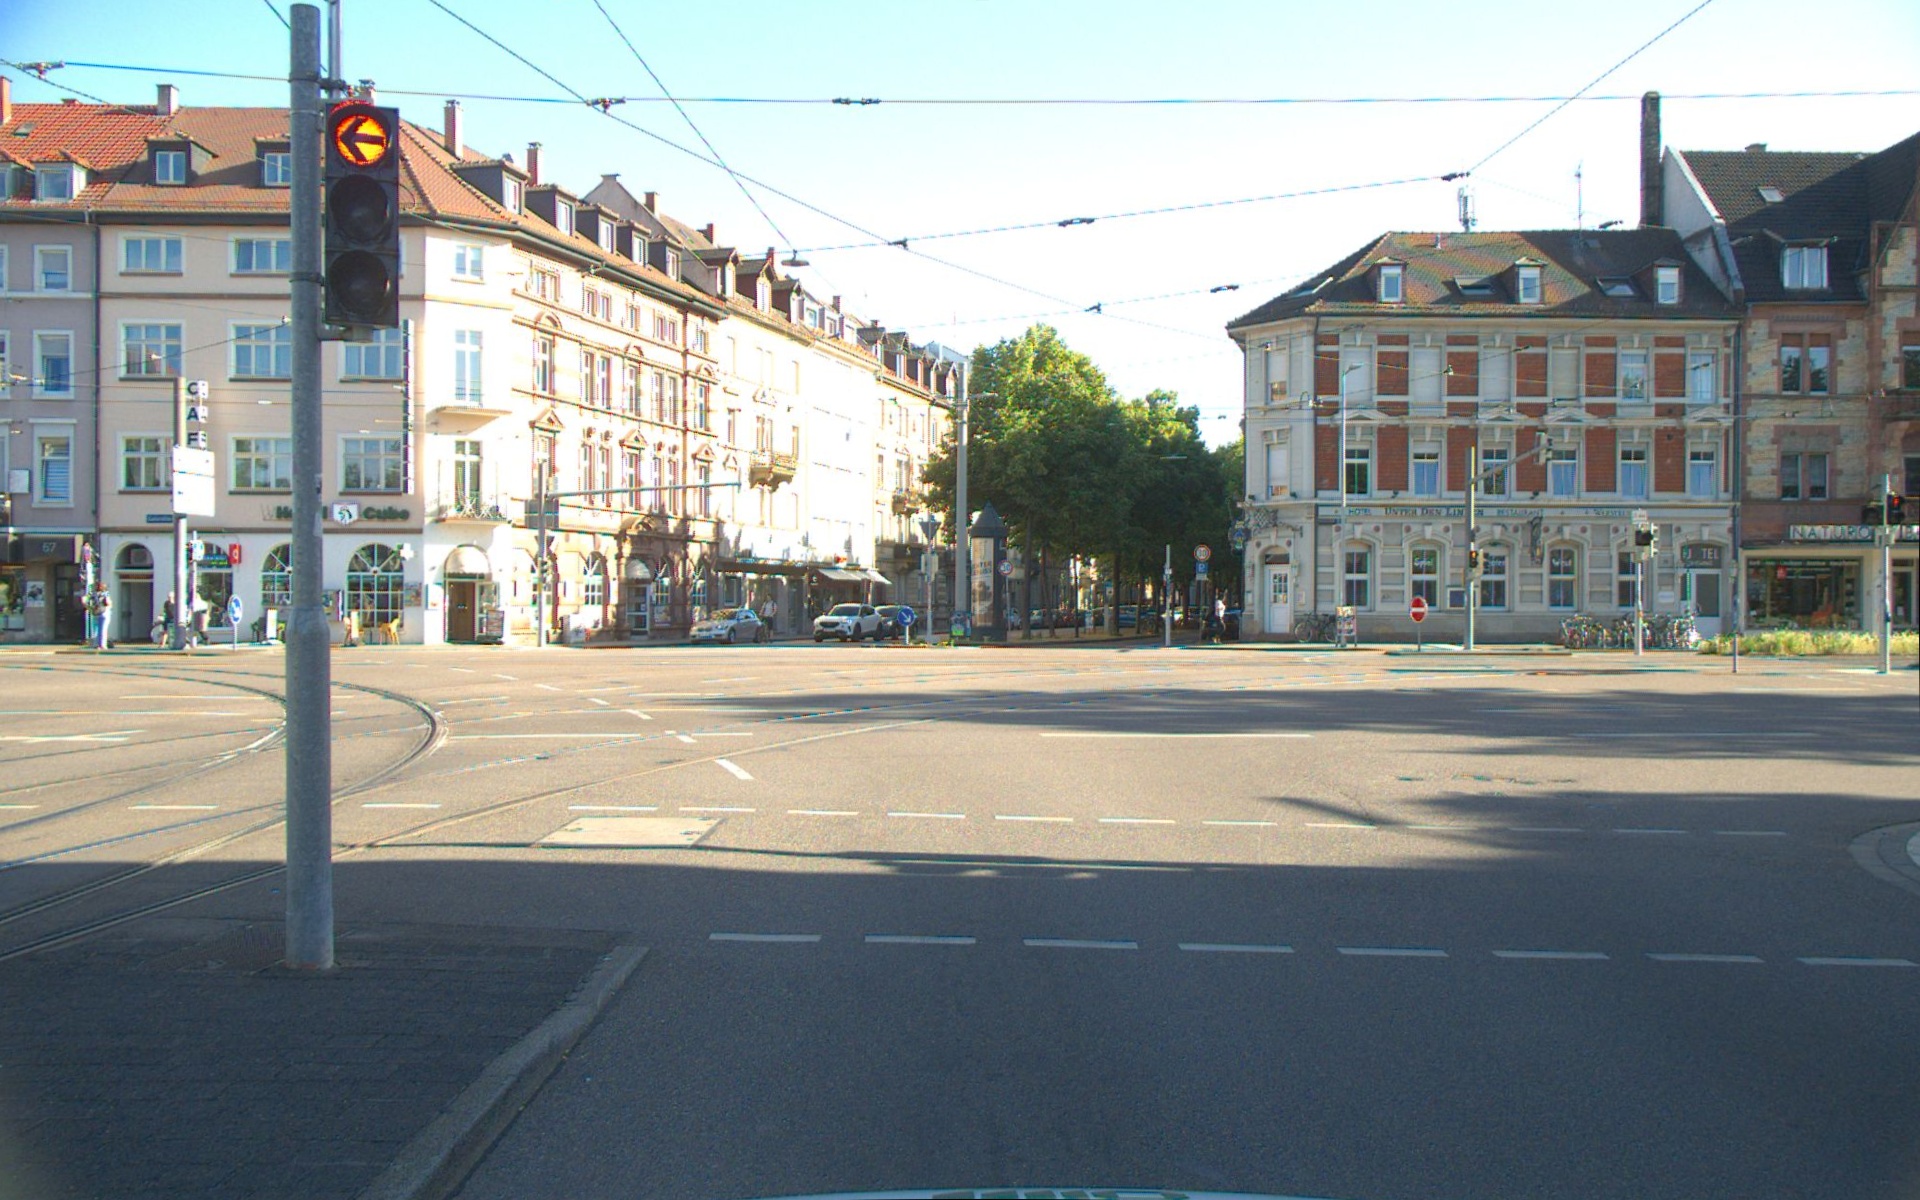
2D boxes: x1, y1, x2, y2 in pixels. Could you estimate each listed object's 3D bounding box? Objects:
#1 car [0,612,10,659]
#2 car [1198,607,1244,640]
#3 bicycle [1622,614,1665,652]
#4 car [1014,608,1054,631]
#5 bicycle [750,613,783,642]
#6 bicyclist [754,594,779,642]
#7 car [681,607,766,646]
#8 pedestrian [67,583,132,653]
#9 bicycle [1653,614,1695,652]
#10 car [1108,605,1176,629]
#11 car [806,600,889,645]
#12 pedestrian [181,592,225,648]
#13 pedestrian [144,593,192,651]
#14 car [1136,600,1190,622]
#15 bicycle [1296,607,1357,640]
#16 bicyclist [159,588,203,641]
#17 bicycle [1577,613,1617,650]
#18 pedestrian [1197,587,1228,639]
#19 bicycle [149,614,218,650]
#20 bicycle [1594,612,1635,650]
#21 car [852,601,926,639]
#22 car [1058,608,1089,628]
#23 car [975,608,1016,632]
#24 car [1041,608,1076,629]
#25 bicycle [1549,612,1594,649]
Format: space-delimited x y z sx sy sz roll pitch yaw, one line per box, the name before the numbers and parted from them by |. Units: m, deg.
car | -32.396 1.141 51.946 3.907 1.478 1.999 0 0 -3
car | 13.072 1.159 82.634 1.951 1.613 4.003 0 0 13
bicycle | 22.075 1.055 53.450 0.605 1.163 2.175 0 0 4
car | 5.530 1.424 122.738 1.951 1.640 4.393 0 0 17
bicycle | -7.594 1.080 64.890 0.665 1.085 2.127 0 0 12
bicyclist | -7.583 0.693 64.932 0.664 1.852 1.071 0 0 12
car | -9.524 1.034 66.900 1.858 1.481 4.002 0 0 17
pedestrian | -21.565 0.447 41.494 1.058 1.714 1.103 0 0 -1
bicycle | 23.039 1.058 53.398 0.596 1.156 2.136 0 0 4
car | 12.708 1.199 115.583 4.290 1.640 1.998 0 0 26
car | -4.540 0.883 67.253 1.951 1.713 4.393 0 0 17
pedestrian | -24.582 0.635 53.724 0.918 1.806 1.010 0 0 4
pedestrian | -24.891 0.683 52.007 0.985 1.806 0.942 0 0 14
car | 16.421 0.884 133.872 3.912 1.736 1.996 0 0 30
bicycle | 12.753 0.818 57.583 2.045 1.144 0.366 1 -1 -5
bicyclist | -26.314 0.483 55.881 1.142 1.806 0.748 0 0 -2
bicycle | 20.595 0.999 53.539 0.605 1.163 2.175 0 0 4
pedestrian | 8.729 0.442 57.198 1.024 1.774 0.809 0 0 5
bicycle | -26.242 1.083 55.911 2.048 1.202 0.631 0 0 -1
bicycle | 21.167 0.993 53.509 0.605 1.163 2.175 0 0 4
car | -3.146 0.861 73.788 1.951 1.640 4.393 0 0 17
car | 9.396 1.460 136.463 1.727 1.576 4.394 0 0 16
car | 2.415 1.324 110.990 1.951 1.512 4.003 0 0 13
car | 7.783 1.421 130.562 1.798 1.579 4.393 0 0 16
bicycle | 19.824 0.988 53.658 0.789 1.163 2.175 0 0 4
